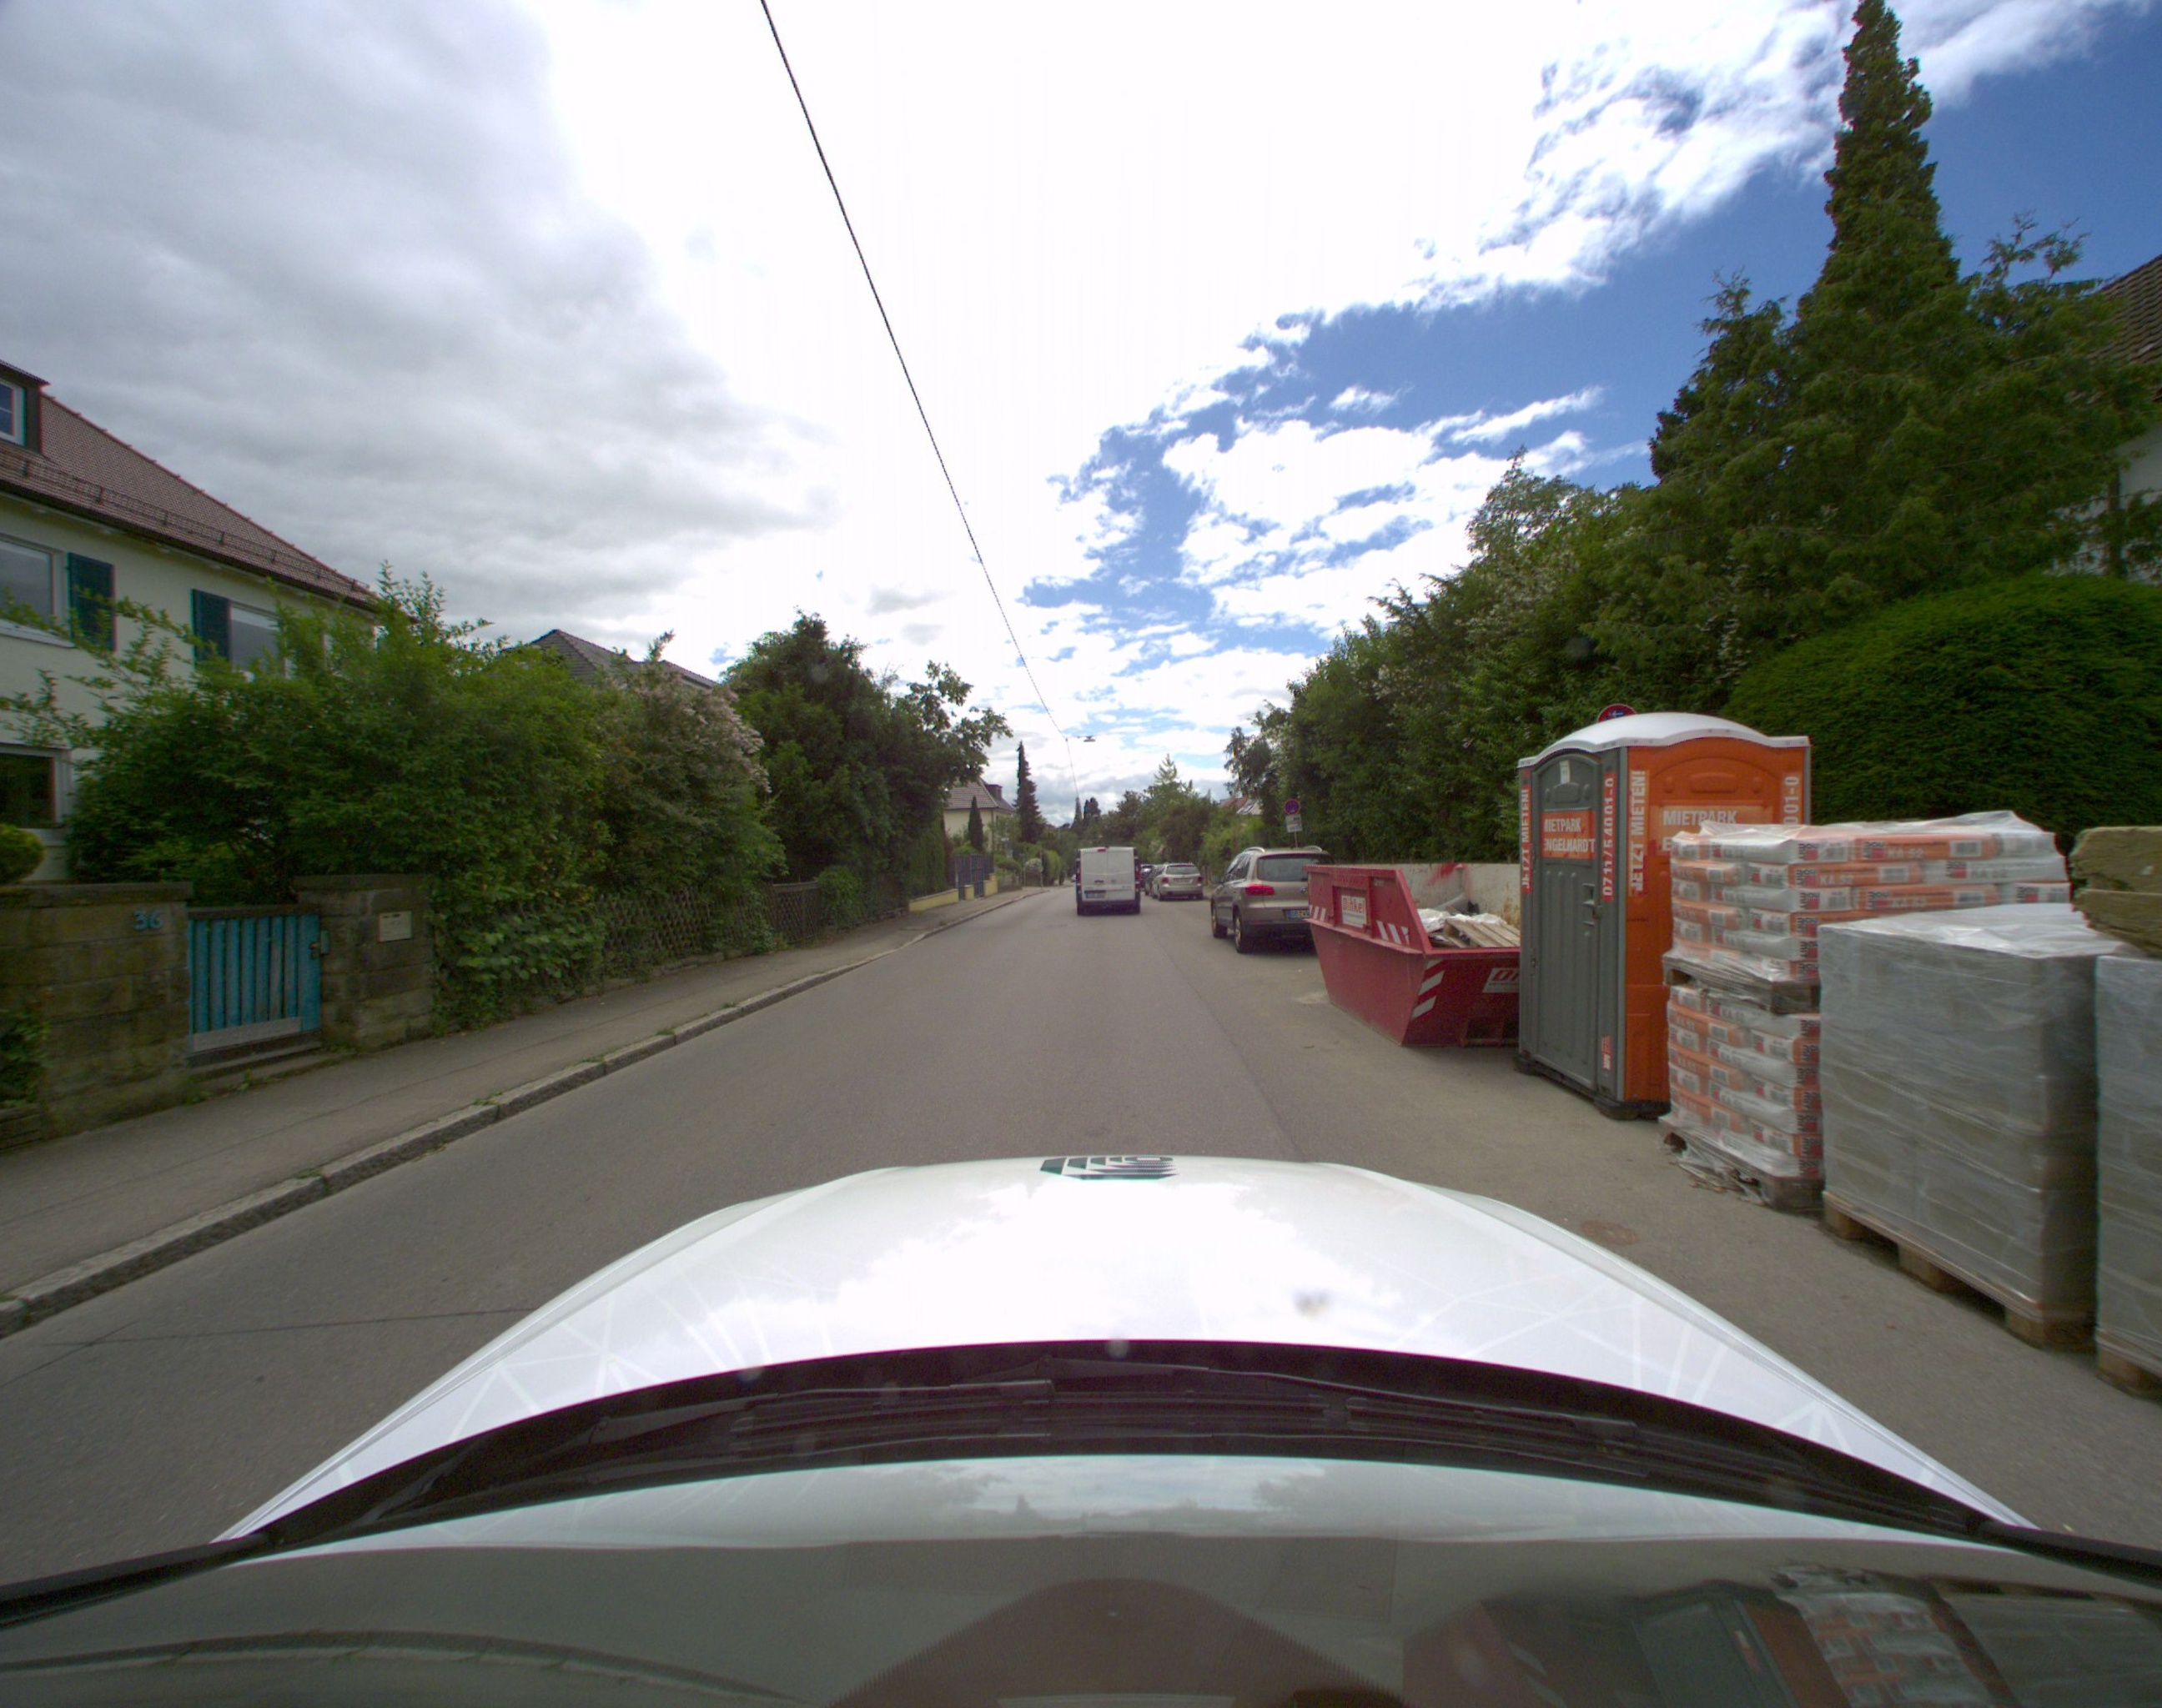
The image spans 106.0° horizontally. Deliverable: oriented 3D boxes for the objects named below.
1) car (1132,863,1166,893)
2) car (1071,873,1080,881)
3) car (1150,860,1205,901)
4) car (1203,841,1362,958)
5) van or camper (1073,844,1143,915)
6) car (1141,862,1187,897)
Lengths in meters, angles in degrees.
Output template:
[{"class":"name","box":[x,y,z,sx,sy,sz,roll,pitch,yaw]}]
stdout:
[{"class":"car","box":[4.068,1.405,49.448,1.738,1.629,4.259,-2,0,1]},{"class":"car","box":[-1.037,4.840,169.582,1.738,1.525,4.012,-2,0,1]},{"class":"car","box":[3.831,1.026,32.855,1.738,1.447,4.259,-2,0,1]},{"class":"car","box":[3.308,0.689,14.196,1.738,1.675,4.185,-2,0,1]},{"class":"van or camper","box":[0.790,0.740,25.089,1.932,1.954,4.765,-1,-1,1]},{"class":"car","box":[3.845,1.160,38.268,1.738,1.447,4.259,-2,0,1]}]
